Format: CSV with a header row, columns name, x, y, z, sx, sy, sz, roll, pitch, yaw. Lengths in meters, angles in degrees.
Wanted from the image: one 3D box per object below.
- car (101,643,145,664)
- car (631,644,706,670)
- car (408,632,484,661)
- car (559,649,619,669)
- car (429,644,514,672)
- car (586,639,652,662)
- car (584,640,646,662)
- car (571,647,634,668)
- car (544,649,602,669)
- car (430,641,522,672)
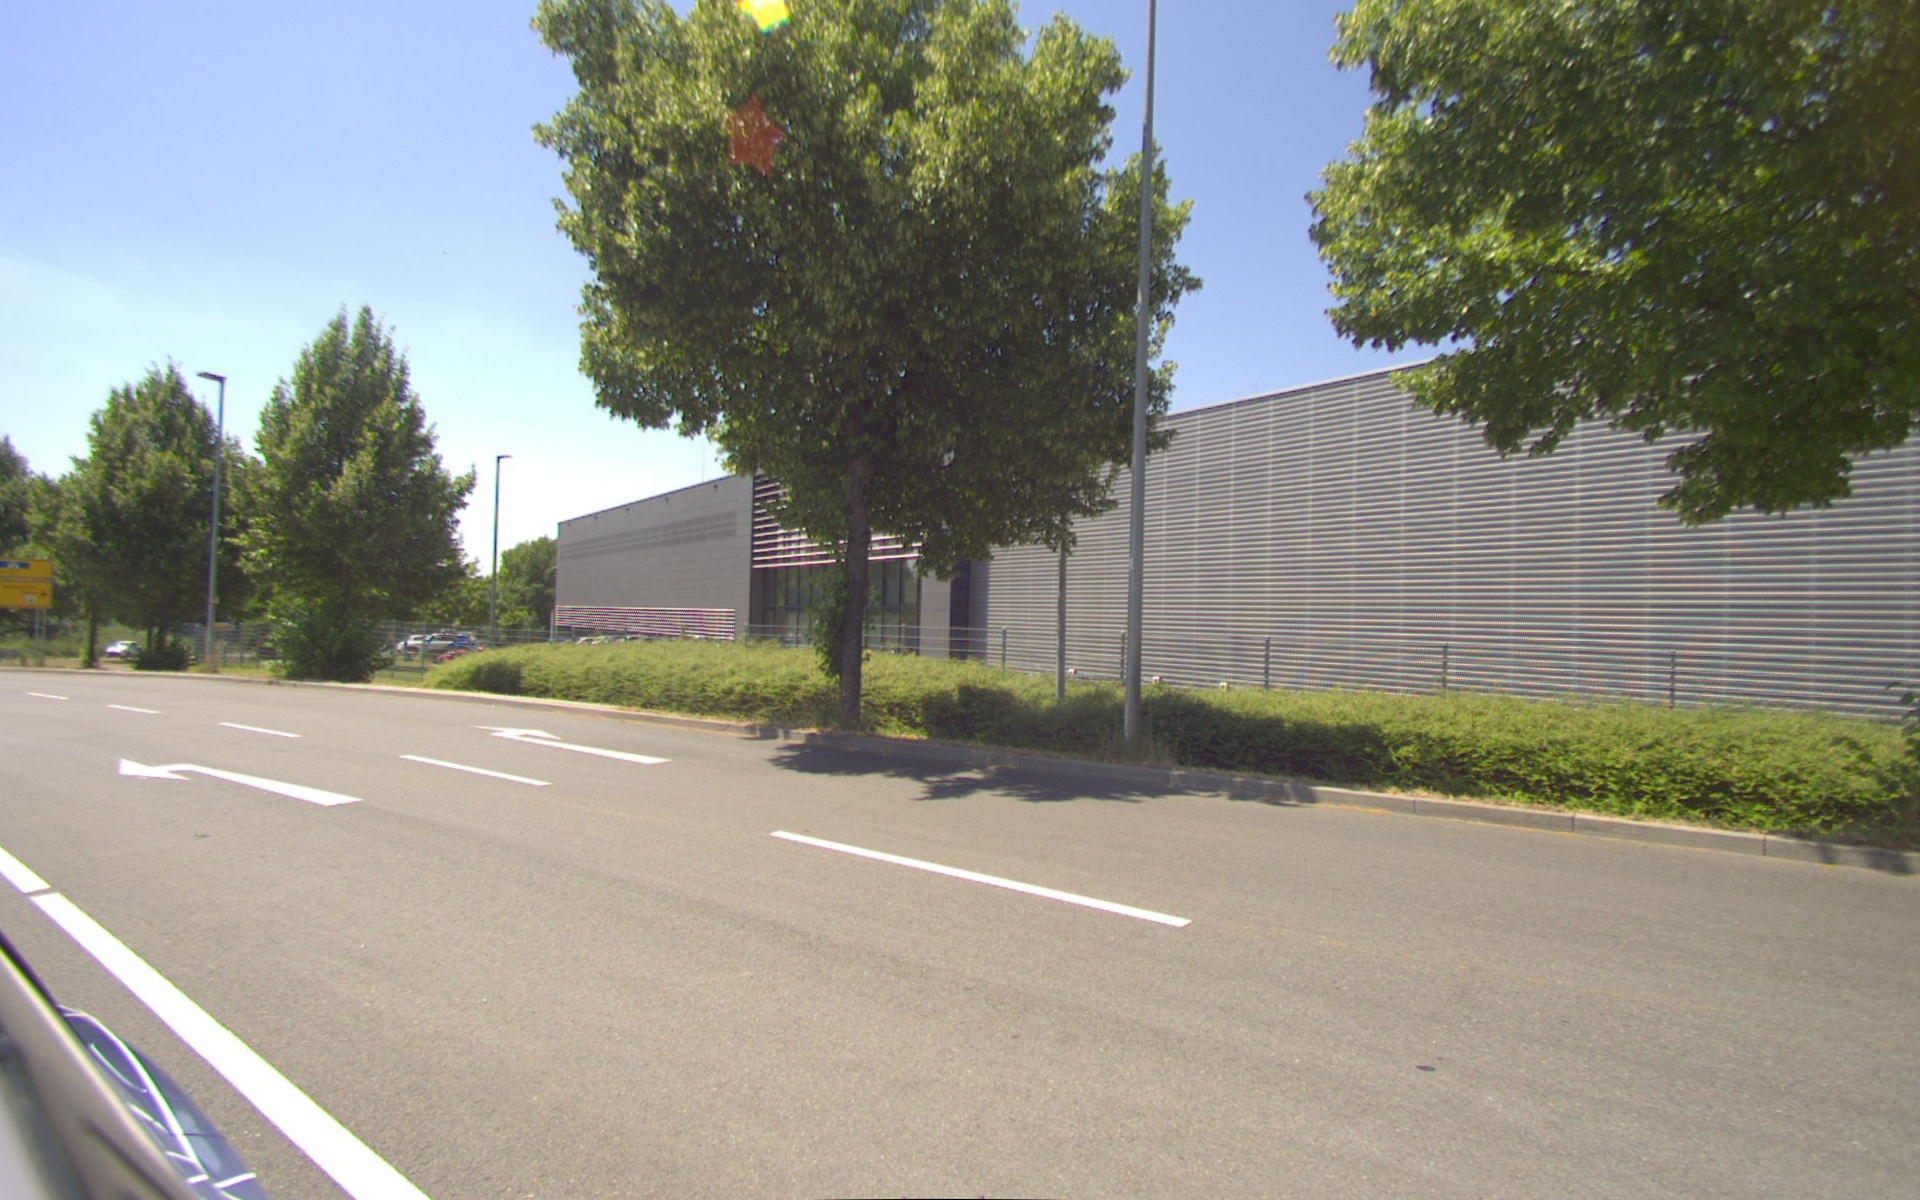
name,x,y,z,sx,sy,sz,roll,pitch,yaw
car,-76.957,4.942,93.111,1.965,1.796,4.013,2,-5,-23
car,-17.950,3.537,62.375,3.936,1.497,2.004,4,-6,-39
car,-32.644,2.980,64.331,3.936,1.719,2.004,4,-6,-39
car,-29.101,4.621,79.391,3.936,1.497,2.004,4,-6,-39
car,-27.567,3.307,57.110,3.936,1.497,2.004,4,-6,-39
car,-23.946,3.590,71.101,3.936,1.497,2.004,4,-6,-39
car,-25.101,3.717,73.702,3.936,1.471,1.775,4,-6,-39
car,-26.741,4.348,75.770,3.936,1.497,2.004,4,-6,-39
car,-31.068,4.760,81.249,3.936,1.497,2.004,4,-6,-39
car,-24.960,2.942,52.247,3.936,1.497,2.004,4,-6,-39
